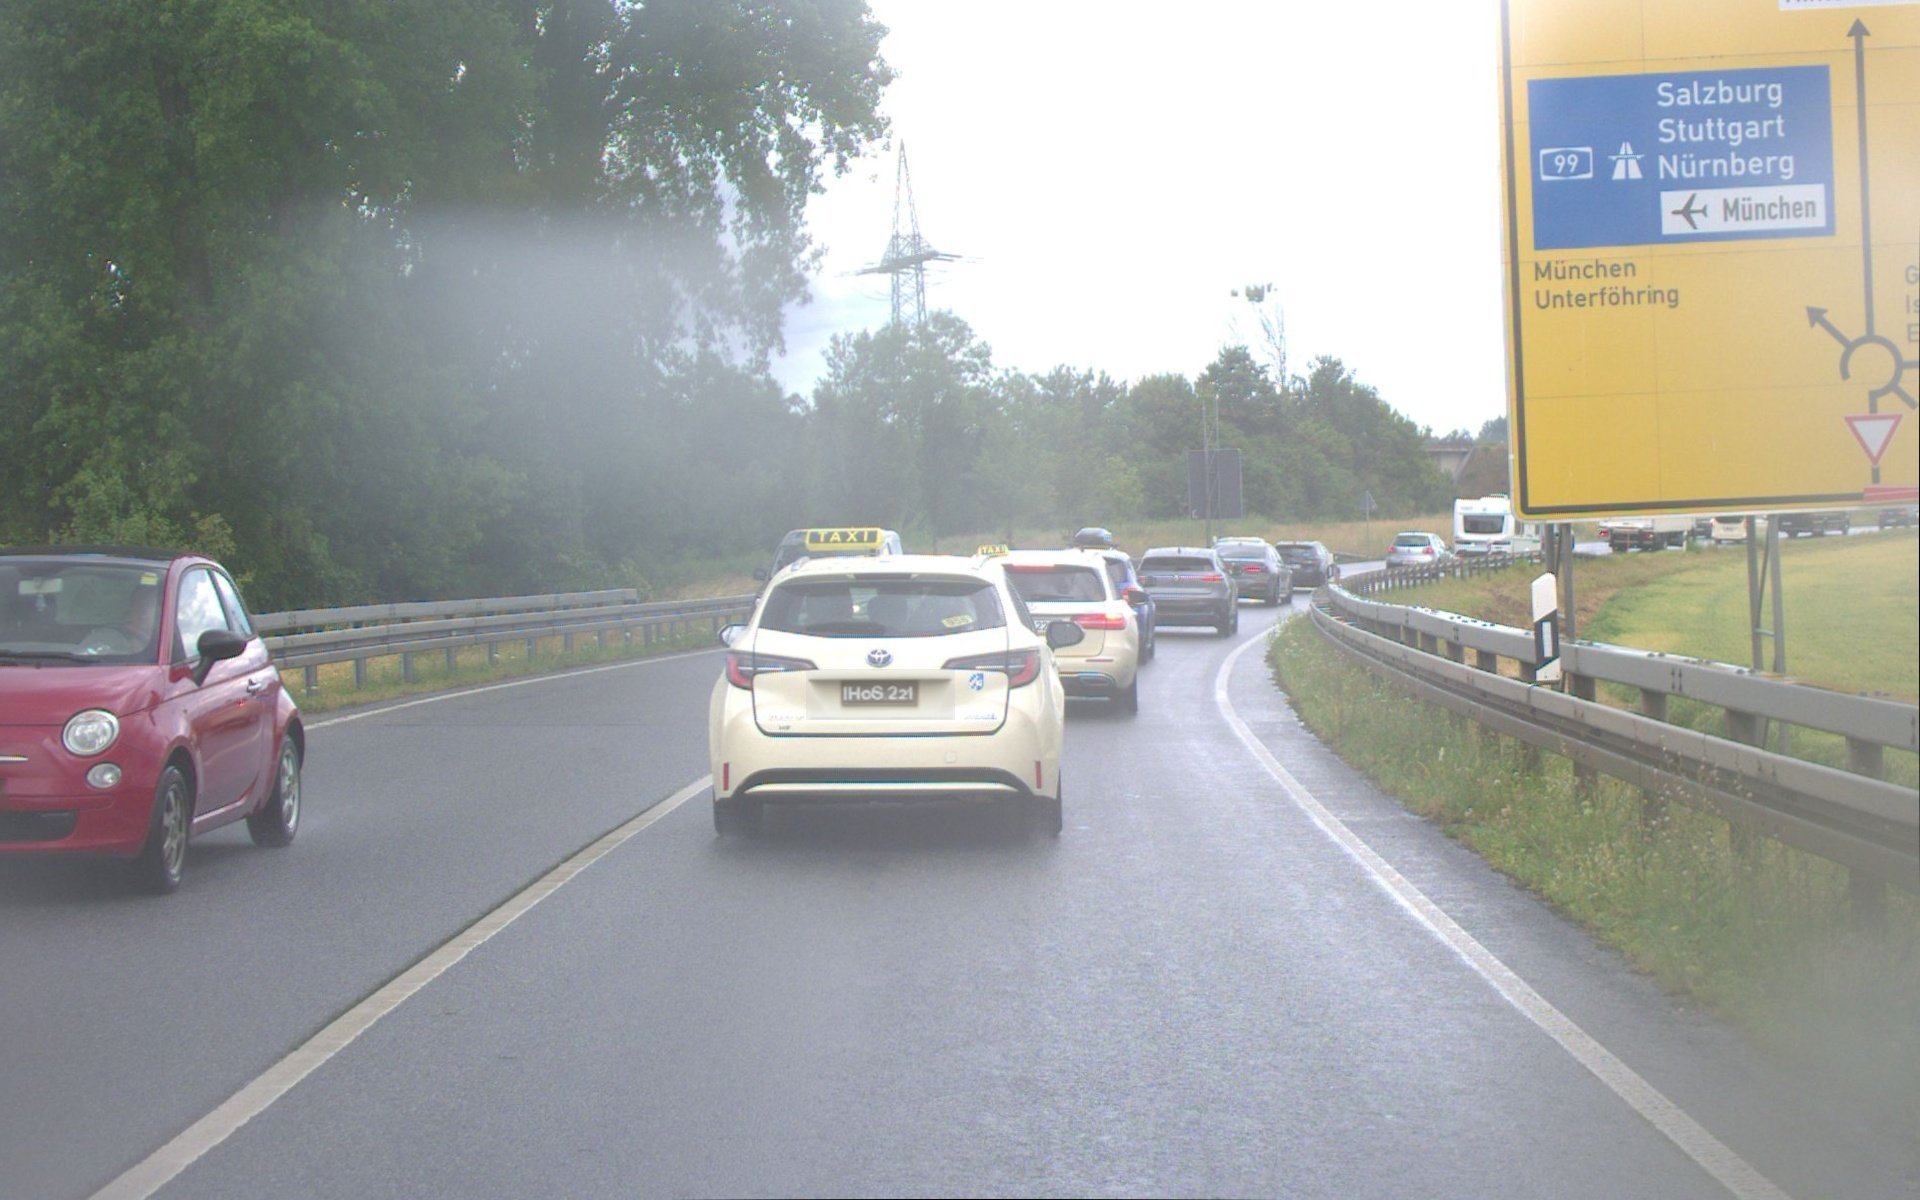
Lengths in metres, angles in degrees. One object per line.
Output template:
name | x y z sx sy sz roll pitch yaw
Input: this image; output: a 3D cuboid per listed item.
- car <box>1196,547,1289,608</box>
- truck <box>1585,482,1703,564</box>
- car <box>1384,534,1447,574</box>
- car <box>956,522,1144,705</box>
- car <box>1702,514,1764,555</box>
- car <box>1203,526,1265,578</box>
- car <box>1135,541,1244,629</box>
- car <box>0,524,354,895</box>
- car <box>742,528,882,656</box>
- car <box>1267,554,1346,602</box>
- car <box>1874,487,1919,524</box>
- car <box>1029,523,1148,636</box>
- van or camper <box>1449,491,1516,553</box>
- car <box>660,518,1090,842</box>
car | 6.749 -0.528 81.848 1.661 1.404 3.902 0 0 13
truck | 30.927 -3.420 155.250 3.145 3.550 7.510 0 0 28
car | 15.210 -1.531 114.680 1.484 1.304 3.474 0 1 17
car | 0.865 0.101 31.307 1.578 1.567 3.681 0 1 4
car | 38.472 -3.243 171.013 2.169 2.007 3.994 0 0 25
car | 9.386 -1.630 117.459 1.518 1.715 3.418 0 0 15
car | 3.944 -0.264 58.737 1.665 1.459 3.476 0 1 7
car | -4.060 0.409 16.034 1.610 1.481 4.000 -1 2 2
car | -1.978 -0.113 46.904 1.520 1.667 3.806 0 0 3
car | 9.679 -0.615 95.843 1.484 1.304 3.474 0 1 18
car | 53.532 -5.388 195.791 2.228 2.007 3.995 0 0 24
car | 1.735 -0.279 45.612 1.506 1.432 3.355 0 0 3
van or camper | 19.619 -2.915 129.068 1.995 2.246 3.997 0 0 16
car | -0.329 0.359 18.359 1.906 1.532 4.161 0 1 4
